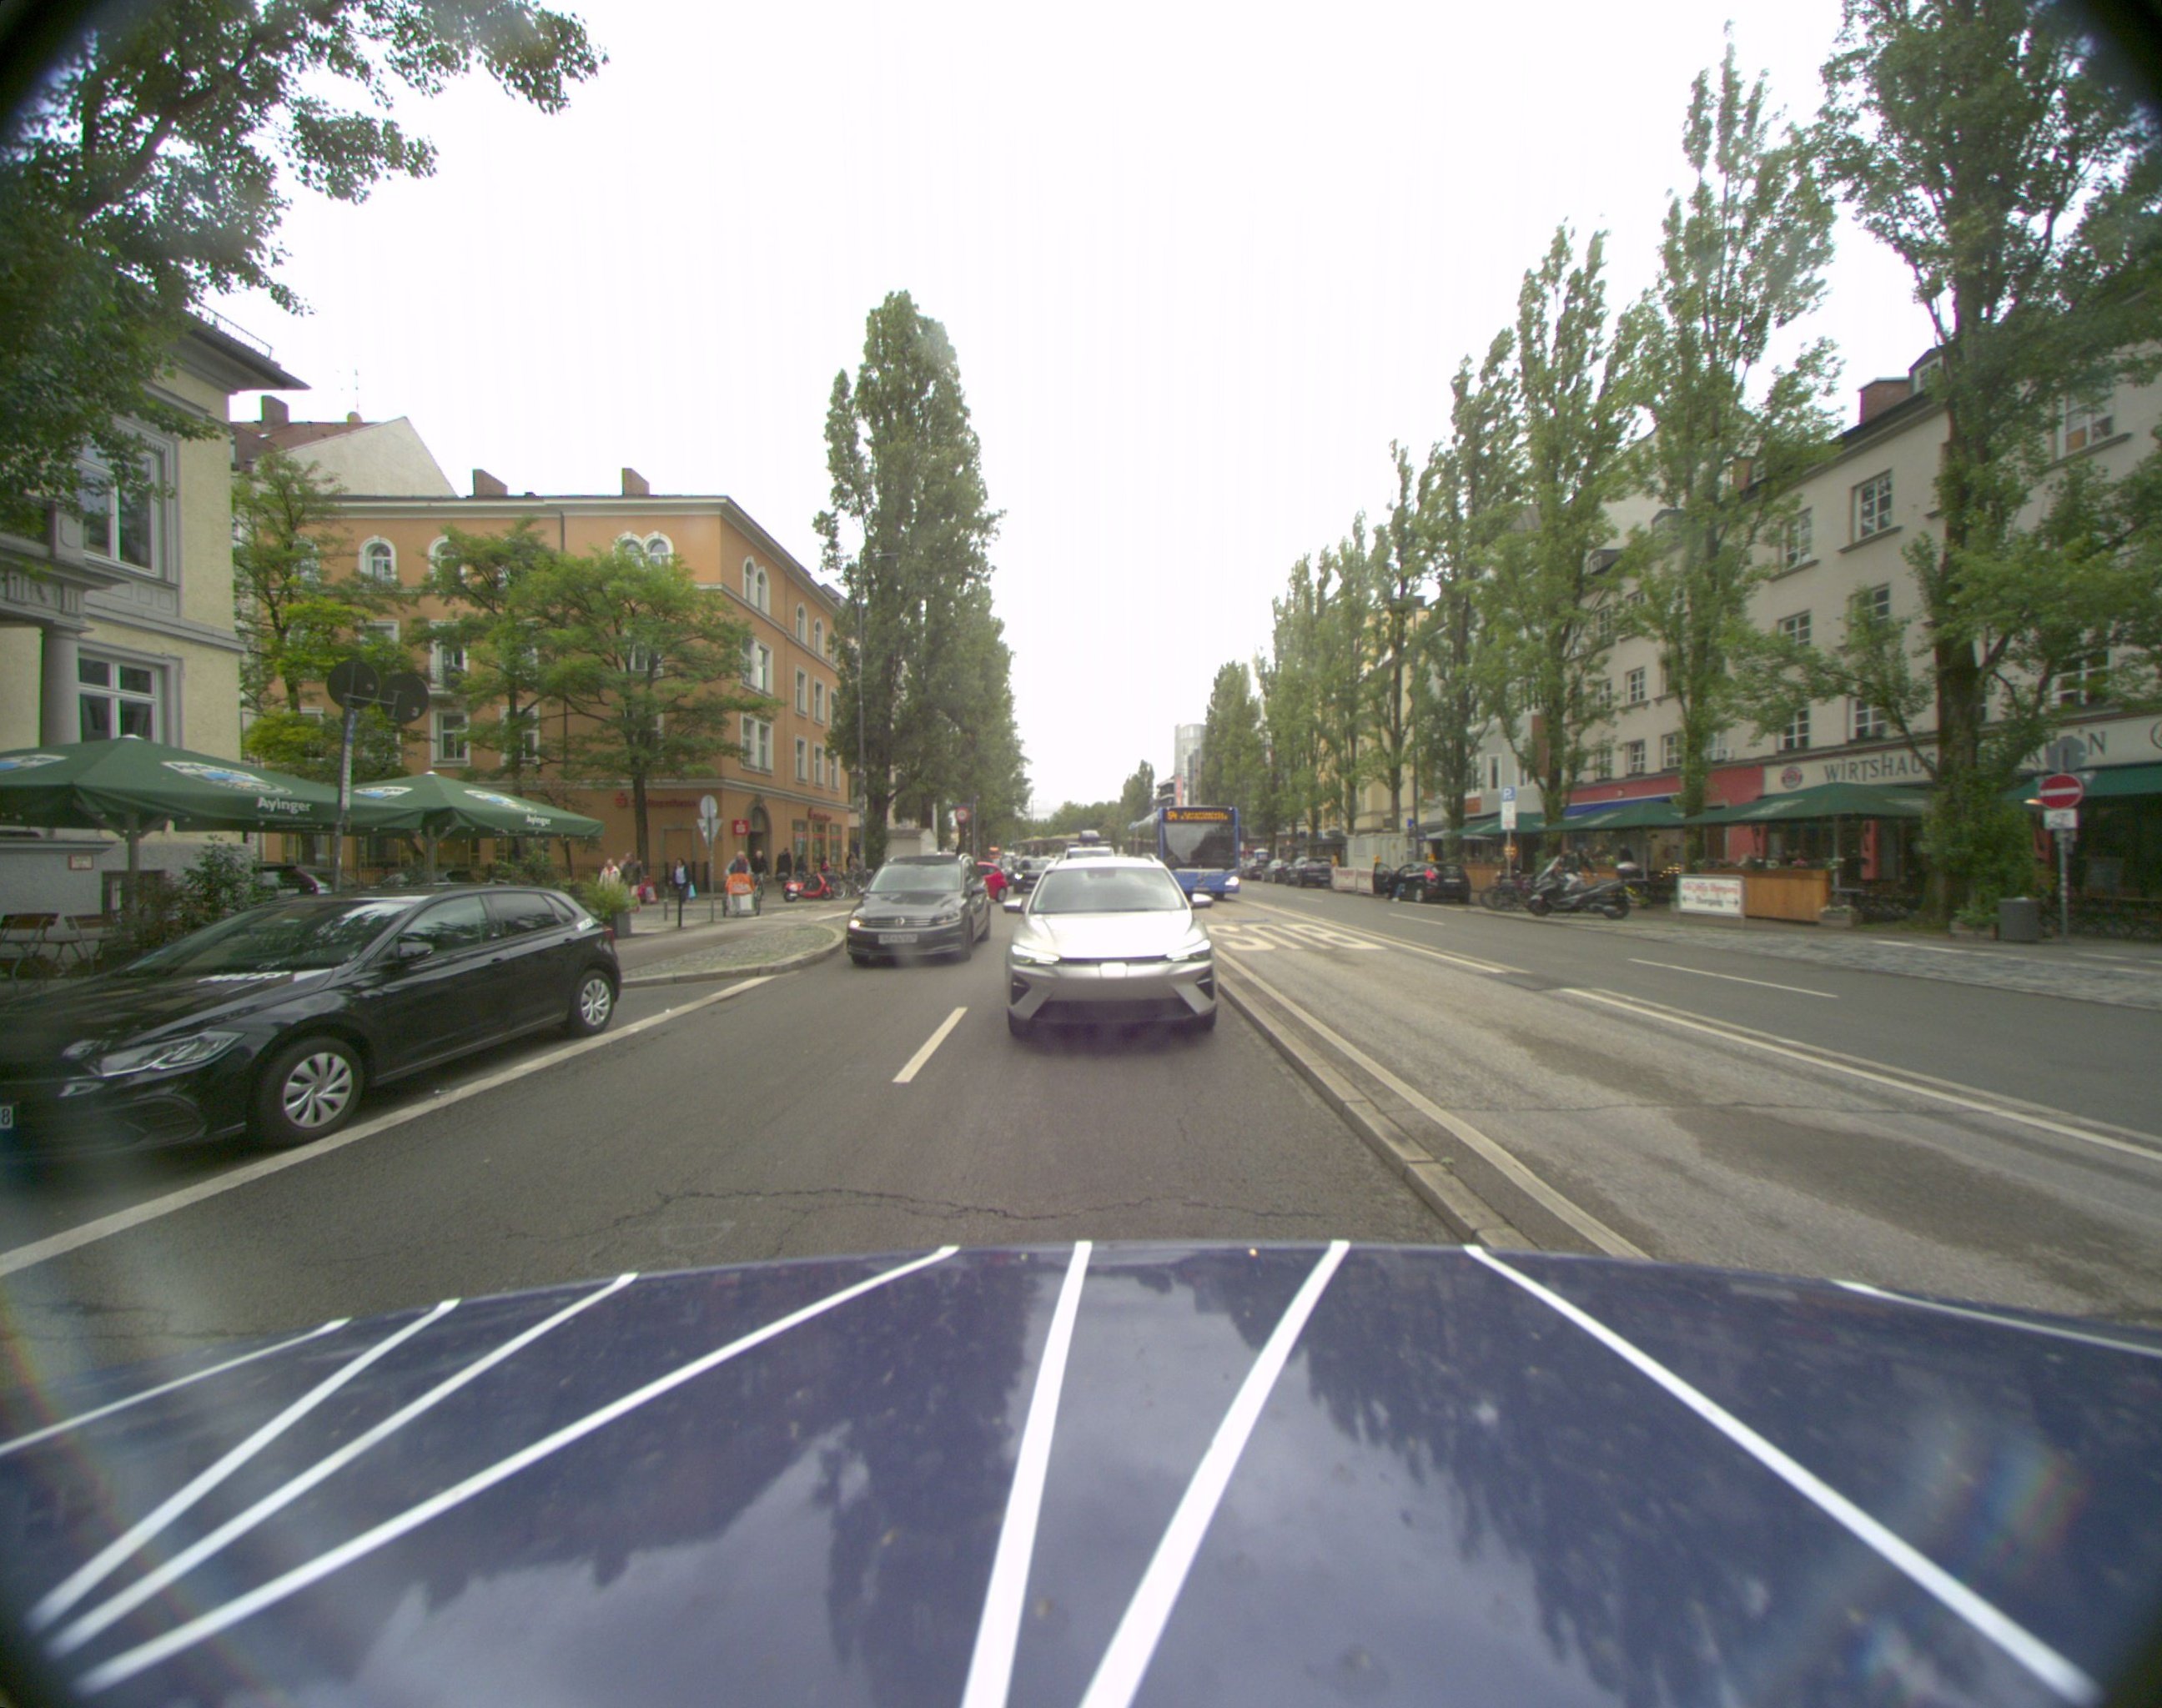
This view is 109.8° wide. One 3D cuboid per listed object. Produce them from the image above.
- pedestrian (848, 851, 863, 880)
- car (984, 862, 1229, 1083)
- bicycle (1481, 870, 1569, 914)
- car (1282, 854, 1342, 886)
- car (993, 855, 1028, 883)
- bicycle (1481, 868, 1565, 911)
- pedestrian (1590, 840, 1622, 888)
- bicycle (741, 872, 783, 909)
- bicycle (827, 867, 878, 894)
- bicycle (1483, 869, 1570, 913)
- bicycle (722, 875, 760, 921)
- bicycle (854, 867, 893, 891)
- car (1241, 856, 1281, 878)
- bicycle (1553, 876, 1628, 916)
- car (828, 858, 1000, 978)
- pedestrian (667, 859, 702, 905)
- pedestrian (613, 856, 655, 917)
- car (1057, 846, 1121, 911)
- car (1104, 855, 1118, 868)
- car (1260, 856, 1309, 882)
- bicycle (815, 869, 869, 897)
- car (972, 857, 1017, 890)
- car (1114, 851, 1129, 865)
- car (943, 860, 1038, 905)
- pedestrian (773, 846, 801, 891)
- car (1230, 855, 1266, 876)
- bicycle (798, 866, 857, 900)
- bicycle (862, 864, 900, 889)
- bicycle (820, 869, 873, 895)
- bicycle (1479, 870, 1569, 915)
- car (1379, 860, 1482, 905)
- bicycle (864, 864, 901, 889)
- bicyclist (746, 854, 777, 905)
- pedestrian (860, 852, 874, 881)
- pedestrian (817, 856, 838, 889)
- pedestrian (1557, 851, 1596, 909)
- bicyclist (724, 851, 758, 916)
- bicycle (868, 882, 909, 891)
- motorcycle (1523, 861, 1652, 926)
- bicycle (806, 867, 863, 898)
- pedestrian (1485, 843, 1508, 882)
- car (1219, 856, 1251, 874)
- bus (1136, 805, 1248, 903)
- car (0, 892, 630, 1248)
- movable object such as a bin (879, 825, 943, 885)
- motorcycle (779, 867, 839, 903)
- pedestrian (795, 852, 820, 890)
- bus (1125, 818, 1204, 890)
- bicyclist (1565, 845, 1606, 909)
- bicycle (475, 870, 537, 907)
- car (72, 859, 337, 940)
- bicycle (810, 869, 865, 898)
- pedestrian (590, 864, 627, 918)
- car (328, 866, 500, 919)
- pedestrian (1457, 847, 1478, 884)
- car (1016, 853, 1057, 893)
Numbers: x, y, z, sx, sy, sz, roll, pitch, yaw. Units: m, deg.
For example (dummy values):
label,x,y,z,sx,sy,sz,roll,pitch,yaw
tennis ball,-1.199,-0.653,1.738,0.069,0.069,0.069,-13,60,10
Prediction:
label,x,y,z,sx,sy,sz,roll,pitch,yaw
pedestrian,-13.107,0.660,44.169,0.634,1.684,0.574,-2,1,-6
car,0.191,0.894,7.591,1.742,1.510,4.033,-2,0,0
bicycle,11.790,0.998,20.224,1.976,1.119,0.283,-2,1,37
car,12.142,0.808,40.237,1.802,1.603,4.574,0,0,1
car,-4.403,0.887,48.049,1.789,1.604,4.498,-2,0,0
bicycle,12.273,0.982,21.139,1.976,1.119,0.343,-2,1,37
pedestrian,21.430,0.391,31.017,0.699,1.915,0.905,0,1,4
bicycle,-10.592,1.175,25.276,0.737,1.113,2.100,-1,0,-7
bicycle,-9.441,1.089,31.446,1.945,1.078,0.561,-1,1,1
bicycle,11.964,0.989,20.448,1.976,1.119,0.283,-2,1,37
bicycle,-9.280,1.171,20.743,0.888,1.113,2.097,-1,0,-24
bicycle,-8.967,1.098,32.873,1.602,1.004,0.342,-1,1,-6
car,12.397,0.885,52.637,1.802,1.432,4.574,0,0,1
bicycle,13.762,1.101,20.602,0.613,0.963,2.174,-1,0,1
car,-2.544,0.909,12.662,1.882,1.582,4.192,-2,0,0
pedestrian,-13.745,0.961,26.347,0.745,1.562,0.664,-2,1,3
pedestrian,-13.224,0.944,22.491,0.699,1.756,0.732,-2,1,4
car,0.239,0.693,24.944,1.839,1.831,5.129,-2,1,0
car,4.647,1.111,119.366,1.897,1.921,5.070,0,0,-1
car,12.290,0.867,46.152,1.802,1.432,4.574,0,0,1
bicycle,-9.463,1.155,30.094,1.945,1.069,0.561,-1,1,1
car,-4.443,0.942,39.482,1.789,1.544,4.498,-2,0,0
car,5.696,0.550,107.660,1.998,2.002,4.000,0,0,1
car,-3.197,1.000,27.623,1.613,1.425,4.009,-1,0,23
pedestrian,-12.931,0.630,33.478,0.840,1.937,0.802,-2,1,-1
car,12.664,0.863,57.893,1.802,1.495,4.574,0,0,1
bicycle,-9.350,1.062,28.055,1.945,1.232,0.561,-1,1,1
bicycle,-9.142,1.032,34.752,1.610,1.078,0.321,-1,1,-22
bicycle,-9.450,1.121,30.698,1.945,1.004,0.561,-1,1,1
bicycle,11.600,1.001,19.940,1.976,1.119,0.361,-2,1,37
car,12.223,0.955,26.847,1.760,1.414,3.784,1,0,-2
bicycle,-8.986,1.028,34.421,1.604,1.078,0.341,-1,1,-22
bicyclist,-10.588,0.829,25.231,0.741,1.677,0.748,-1,1,-7
pedestrian,-12.634,0.736,44.900,0.619,1.684,0.574,-2,1,-8
pedestrian,-12.132,0.886,36.375,0.745,1.562,0.614,-2,1,3
pedestrian,14.985,0.782,23.009,0.731,1.716,0.700,0,1,3
bicyclist,-9.406,0.792,21.033,0.832,1.747,0.666,-1,1,-24
bicycle,-8.505,1.450,33.676,1.677,0.371,0.830,1,0,-7
motorcycle,11.975,0.890,18.063,0.747,1.406,2.448,0,0,-33
bicycle,-9.311,1.079,28.699,1.945,1.130,0.561,-1,1,1
pedestrian,20.615,0.402,37.707,0.699,1.915,0.905,0,1,4
car,12.841,0.890,63.726,1.802,1.432,4.574,0,0,1
bus,3.672,-0.011,27.728,2.696,2.932,10.052,0,0,0
car,-5.228,1.092,5.418,1.698,1.408,3.950,-1,0,-1
movable object such as a bin,-9.428,0.049,42.492,2.445,3.119,4.543,1,0,1
motorcycle,-9.698,1.098,27.093,1.963,1.214,0.514,-1,1,-25
pedestrian,-12.127,0.757,33.709,0.746,1.651,0.771,-2,1,-2
bus,3.729,-0.027,36.255,2.690,2.932,10.052,0,0,0
bicyclist,13.758,0.617,20.733,0.606,1.695,0.816,-1,1,2
bicycle,-22.165,1.316,29.284,1.945,1.364,0.561,-2,1,1
car,-21.412,1.077,18.686,4.425,1.692,1.971,-2,1,5
bicycle,-9.404,1.141,29.350,1.945,1.082,0.561,-1,1,1
pedestrian,-14.325,1.110,23.047,0.699,1.562,0.575,-2,1,3
car,-22.252,1.258,25.467,3.997,1.511,1.906,-2,1,-1
pedestrian,20.615,0.605,40.576,0.699,1.915,0.905,0,1,4
car,-2.084,0.822,34.555,1.707,1.683,4.001,-2,0,-5
